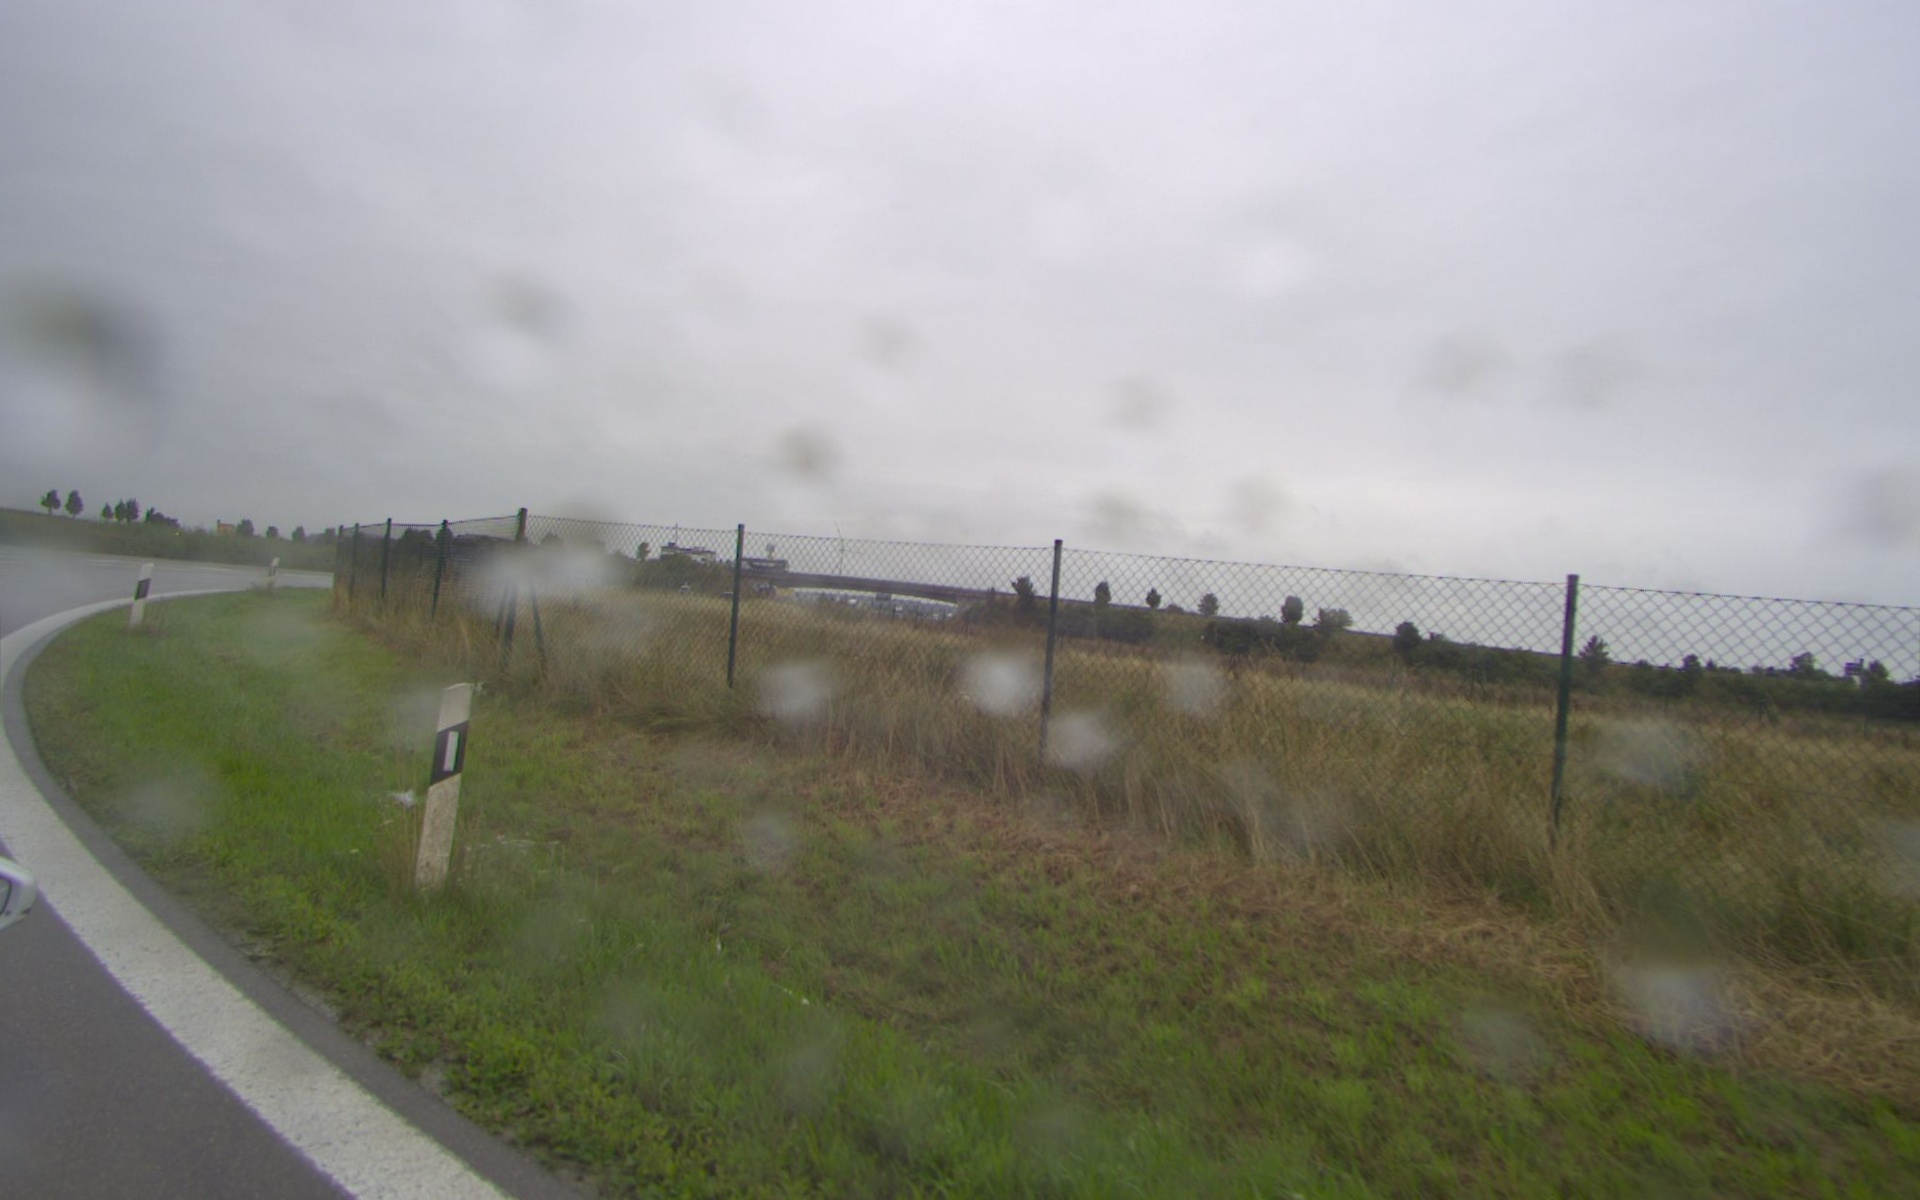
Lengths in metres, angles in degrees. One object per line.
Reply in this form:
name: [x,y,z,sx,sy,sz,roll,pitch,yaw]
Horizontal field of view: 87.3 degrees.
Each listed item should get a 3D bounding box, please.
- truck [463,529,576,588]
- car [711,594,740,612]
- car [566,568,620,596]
truck: [-40.667,-3.669,93.740,3.145,4.013,13.822,8,-1,4]
car: [-25.401,0.315,109.050,1.962,1.720,3.999,4,1,4]
car: [-27.071,-1.284,74.344,2.021,1.655,4.352,7,-1,4]
